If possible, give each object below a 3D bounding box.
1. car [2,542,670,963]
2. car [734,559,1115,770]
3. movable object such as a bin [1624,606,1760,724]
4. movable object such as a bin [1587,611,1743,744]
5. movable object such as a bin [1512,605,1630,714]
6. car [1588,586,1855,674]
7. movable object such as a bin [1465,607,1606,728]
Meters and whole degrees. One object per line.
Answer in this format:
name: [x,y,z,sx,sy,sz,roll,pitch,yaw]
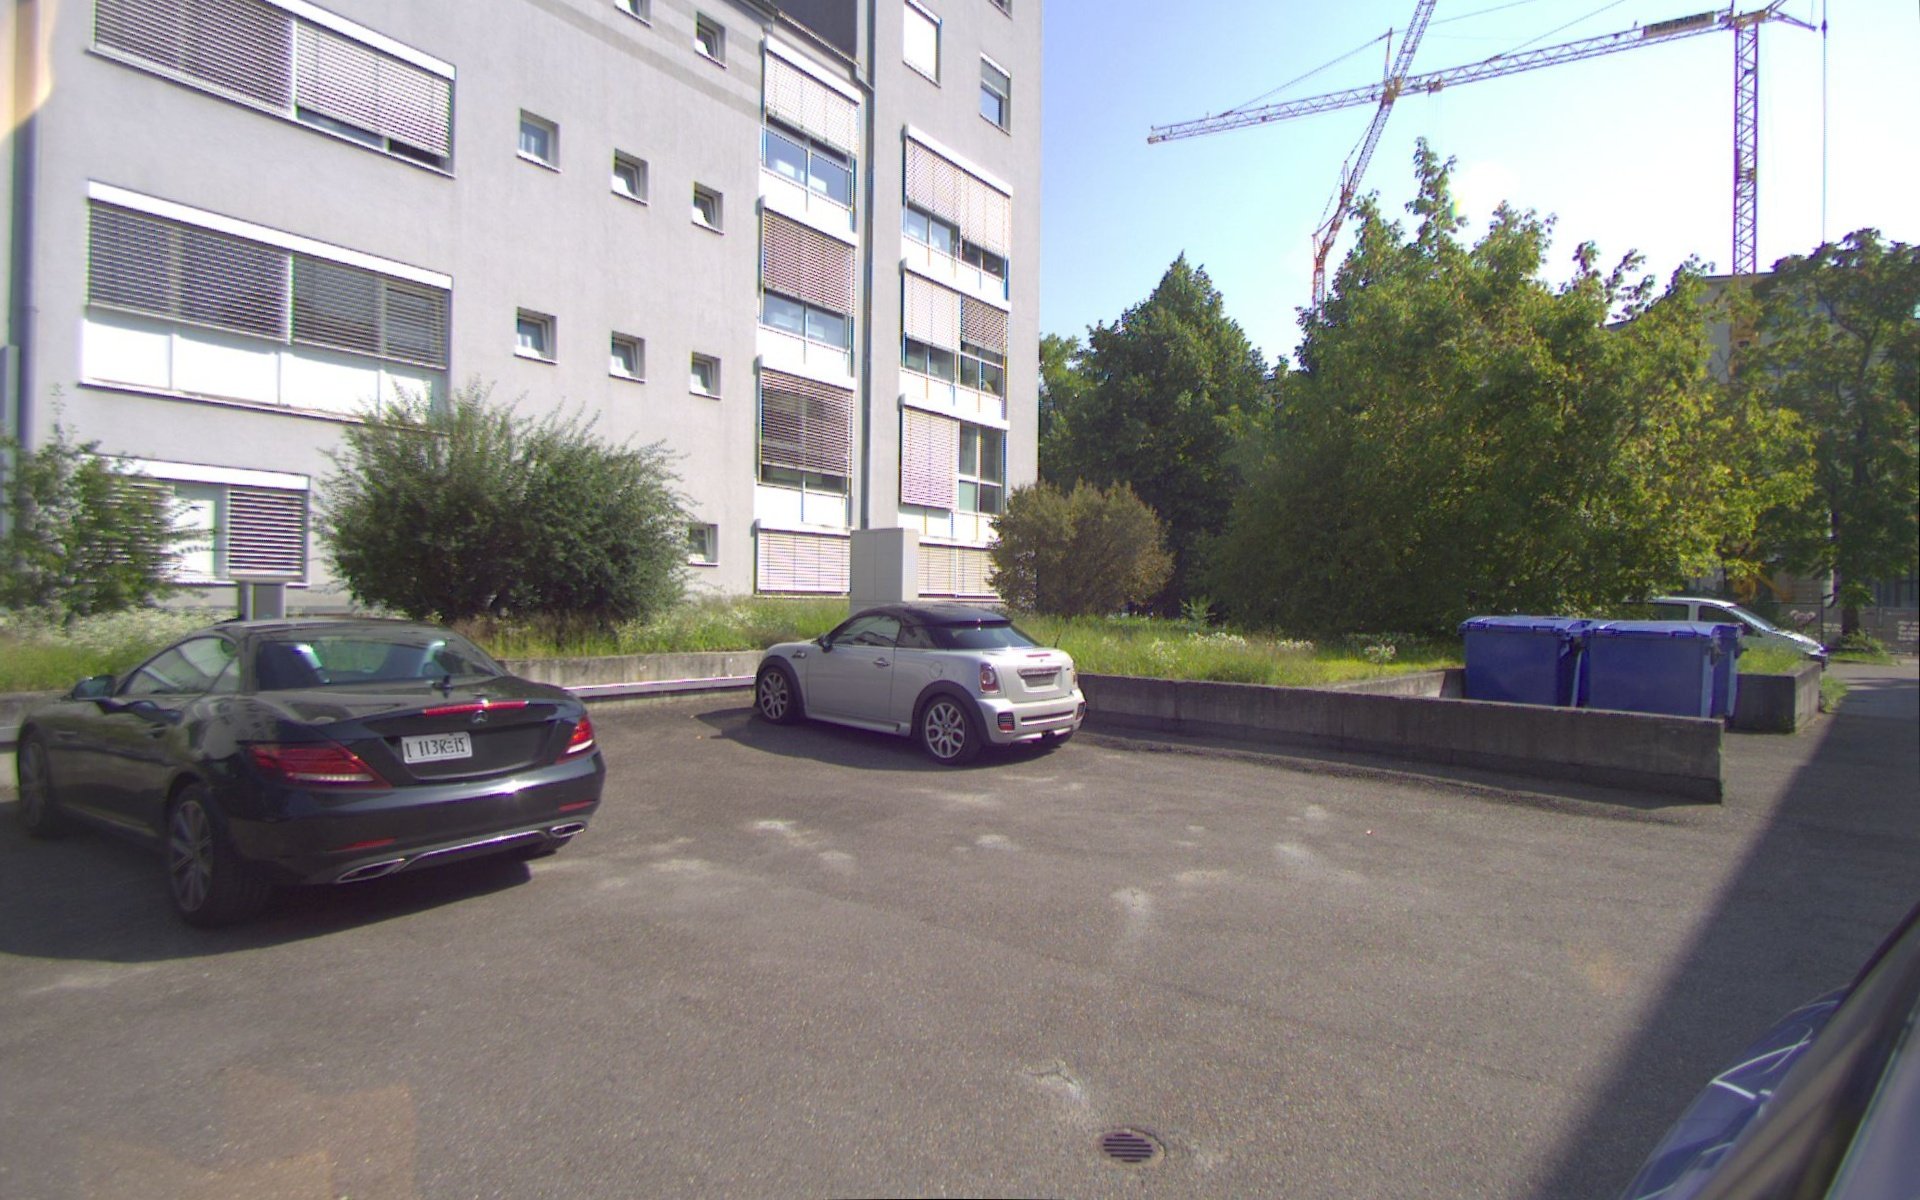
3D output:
car: [-3.628,0.566,5.726,3.786,1.609,1.874,0,0,35]
car: [-0.469,0.489,10.290,3.619,1.563,1.775,6,4,42]
movable object such as a bin: [9.144,0.766,12.640,1.308,1.357,1.084,0,0,41]
movable object such as a bin: [7.940,0.816,11.405,1.300,1.357,1.176,0,0,43]
movable object such as a bin: [8.198,0.757,13.578,1.224,1.357,1.061,0,0,39]
car: [18.465,0.659,24.734,2.010,1.945,4.960,0,0,-44]
movable object such as a bin: [7.021,0.770,12.365,1.098,1.357,1.236,0,0,-43]
